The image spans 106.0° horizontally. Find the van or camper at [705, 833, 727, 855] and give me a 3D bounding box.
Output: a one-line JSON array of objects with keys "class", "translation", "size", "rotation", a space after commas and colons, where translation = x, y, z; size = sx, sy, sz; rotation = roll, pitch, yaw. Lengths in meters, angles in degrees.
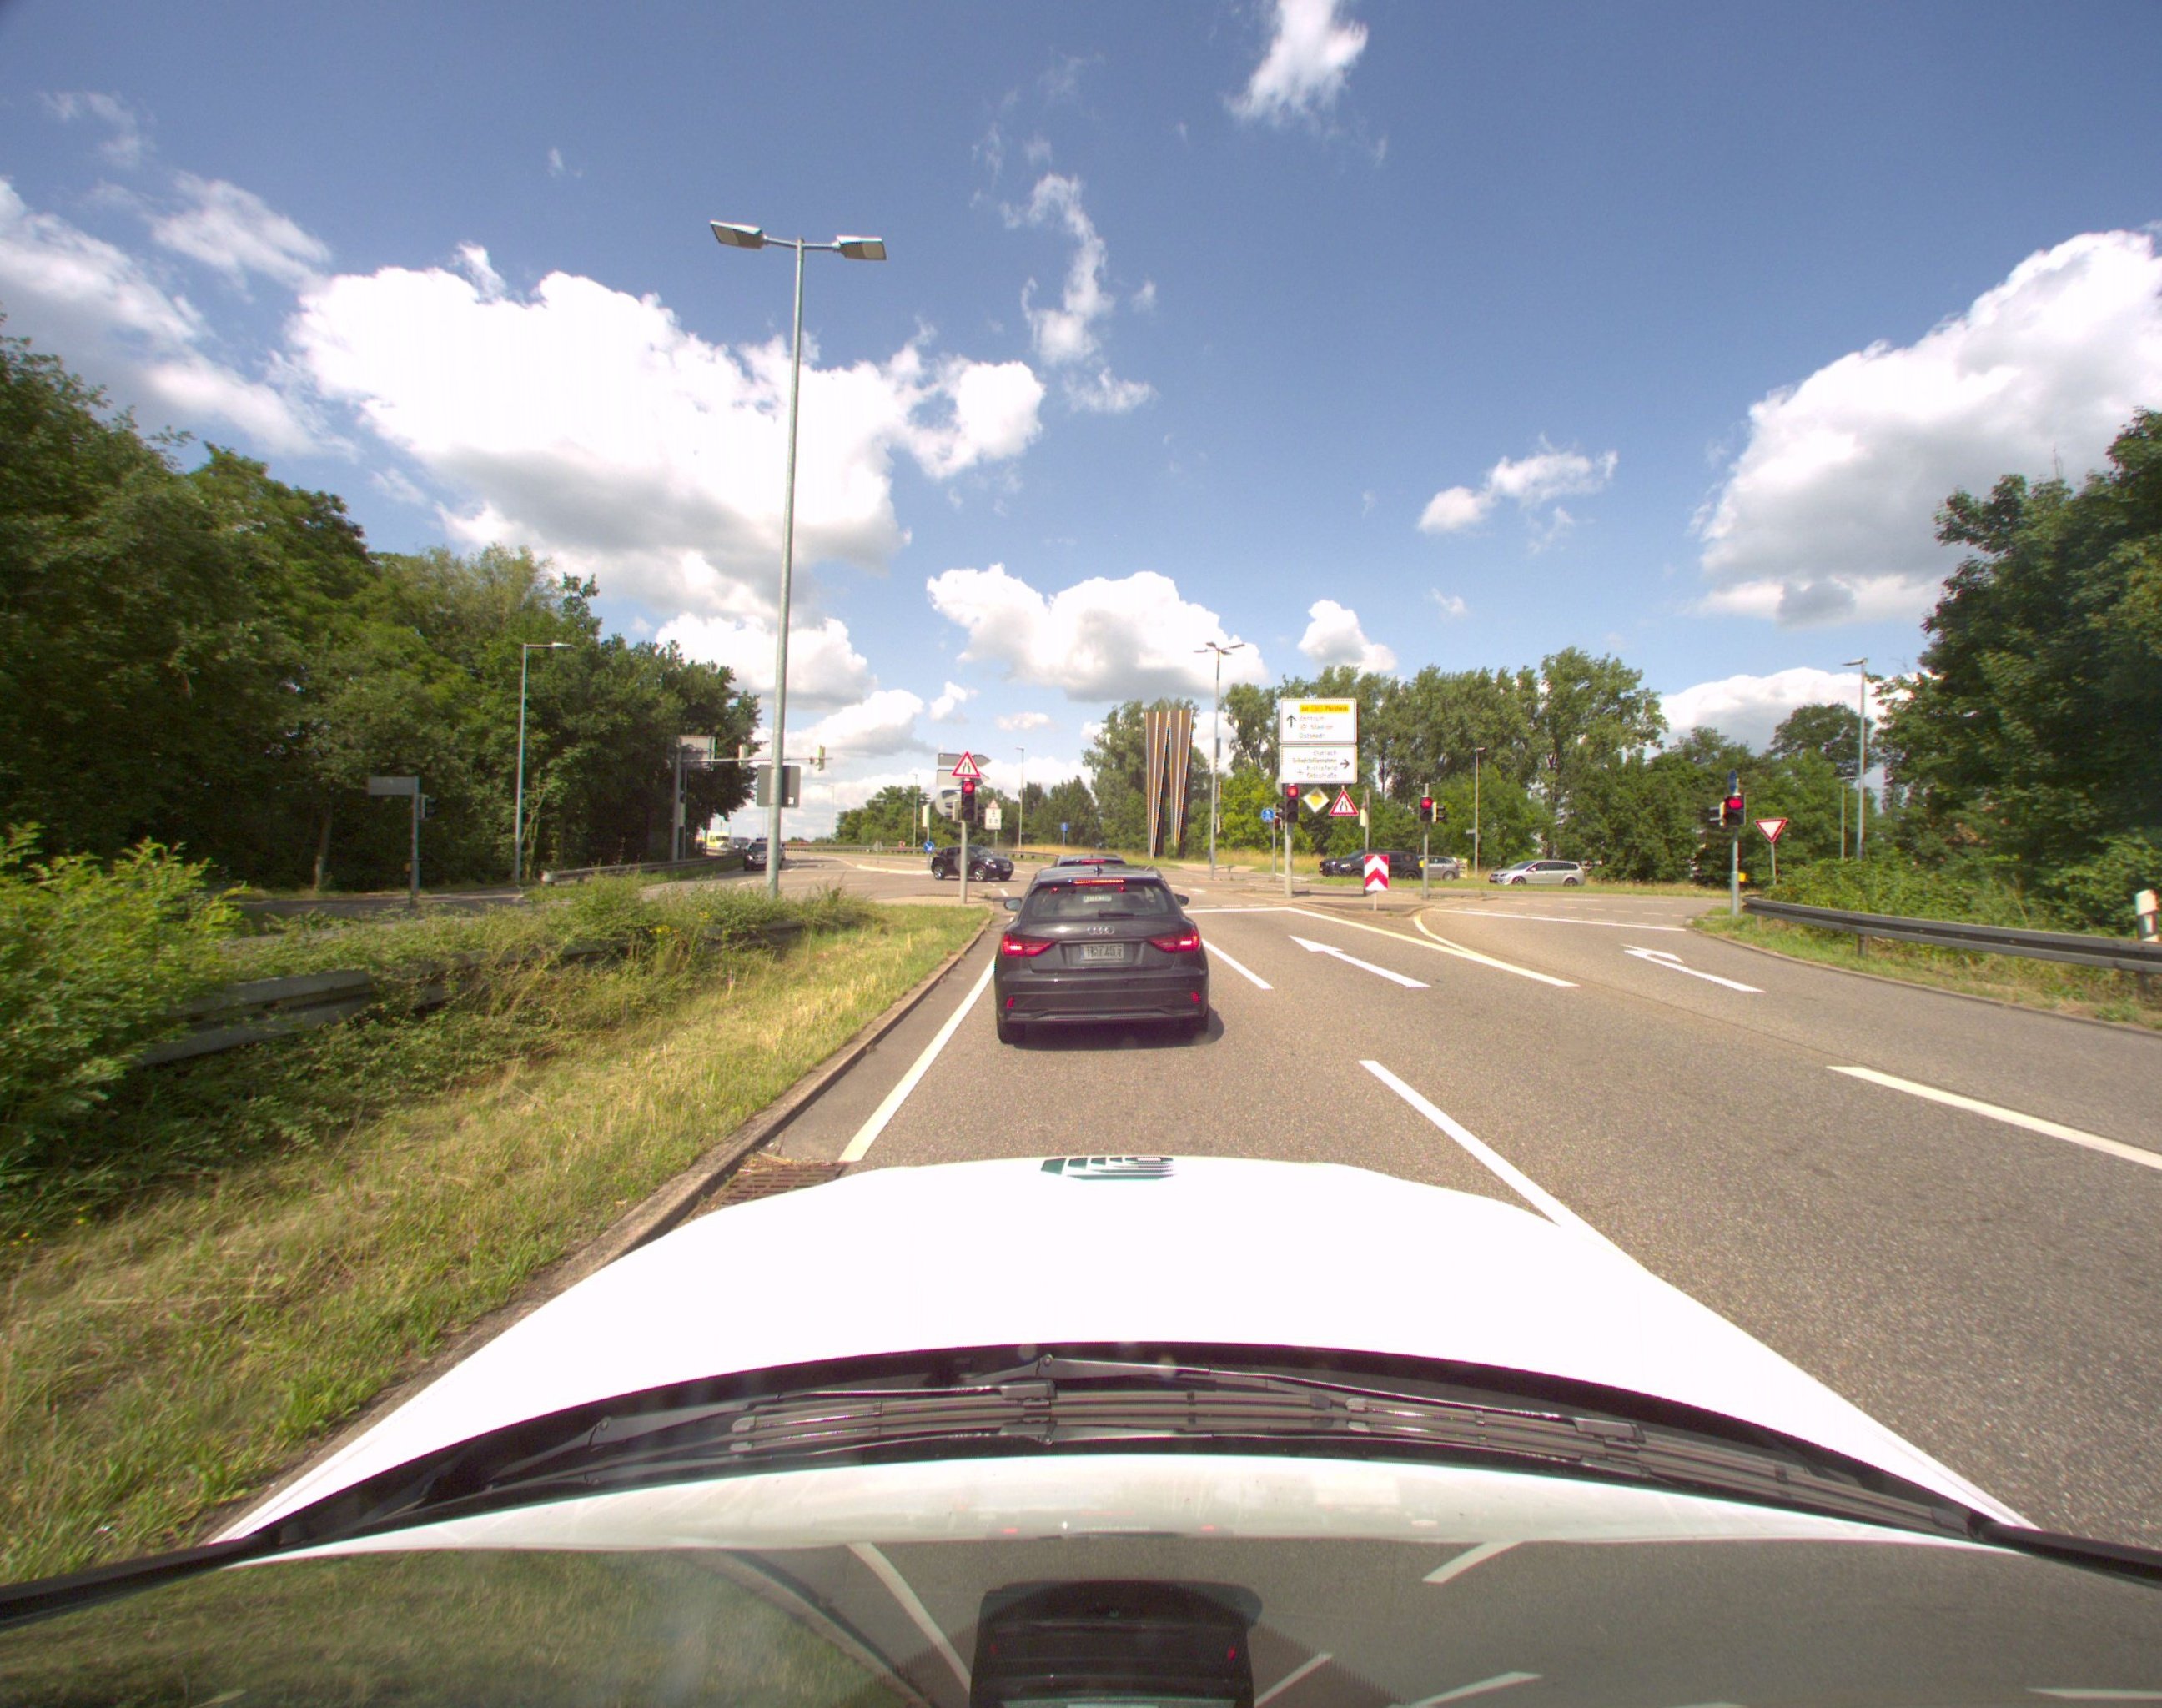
[{"class": "van or camper", "translation": [-46.766, -1.263, 104.246], "size": [2.006, 2.683, 6.798], "rotation": [0, 0, -30]}]

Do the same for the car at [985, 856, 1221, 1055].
[{"class": "car", "translation": [0.224, 0.760, 8.059], "size": [1.720, 1.404, 4.002], "rotation": [-1, 0, 2]}]

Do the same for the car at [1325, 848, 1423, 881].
[{"class": "car", "translation": [14.379, 0.494, 40.095], "size": [4.254, 1.545, 1.737], "rotation": [1, 0, 0]}]

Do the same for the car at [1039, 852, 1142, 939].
[{"class": "car", "translation": [0.090, 0.703, 15.857], "size": [1.722, 1.423, 3.841], "rotation": [-1, 0, -2]}]

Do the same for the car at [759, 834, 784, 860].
[{"class": "car", "translation": [-25.850, -0.610, 67.973], "size": [1.850, 2.100, 4.295], "rotation": [0, 0, -22]}]

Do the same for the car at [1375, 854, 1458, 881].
[{"class": "car", "translation": [19.684, 0.787, 47.885], "size": [4.092, 1.496, 2.000], "rotation": [1, 0, 0]}]

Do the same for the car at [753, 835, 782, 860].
[{"class": "car", "translation": [-23.284, -0.494, 60.566], "size": [1.849, 1.802, 4.298], "rotation": [0, 0, -19]}]

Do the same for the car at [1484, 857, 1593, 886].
[{"class": "car", "translation": [22.538, 0.846, 40.187], "size": [4.460, 1.320, 1.736], "rotation": [0, 0, -2]}]

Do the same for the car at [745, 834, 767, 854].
[{"class": "car", "translation": [-32.678, -1.015, 81.850], "size": [1.852, 1.978, 4.291], "rotation": [0, 0, -25]}]

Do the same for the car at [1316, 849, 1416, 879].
[{"class": "car", "translation": [15.312, 0.546, 43.933], "size": [4.831, 1.545, 1.737], "rotation": [1, 0, 0]}]

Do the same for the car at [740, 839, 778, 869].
[{"class": "car", "translation": [-18.327, 0.049, 46.518], "size": [1.844, 1.618, 3.974], "rotation": [0, -1, -19]}]

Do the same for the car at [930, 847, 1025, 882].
[{"class": "car", "translation": [-4.659, 0.431, 36.338], "size": [3.919, 1.418, 1.966], "rotation": [1, 0, 37]}]

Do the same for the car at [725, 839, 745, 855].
[{"class": "car", "translation": [-38.830, -0.801, 91.329], "size": [1.853, 1.705, 4.289], "rotation": [0, 0, -26]}]
